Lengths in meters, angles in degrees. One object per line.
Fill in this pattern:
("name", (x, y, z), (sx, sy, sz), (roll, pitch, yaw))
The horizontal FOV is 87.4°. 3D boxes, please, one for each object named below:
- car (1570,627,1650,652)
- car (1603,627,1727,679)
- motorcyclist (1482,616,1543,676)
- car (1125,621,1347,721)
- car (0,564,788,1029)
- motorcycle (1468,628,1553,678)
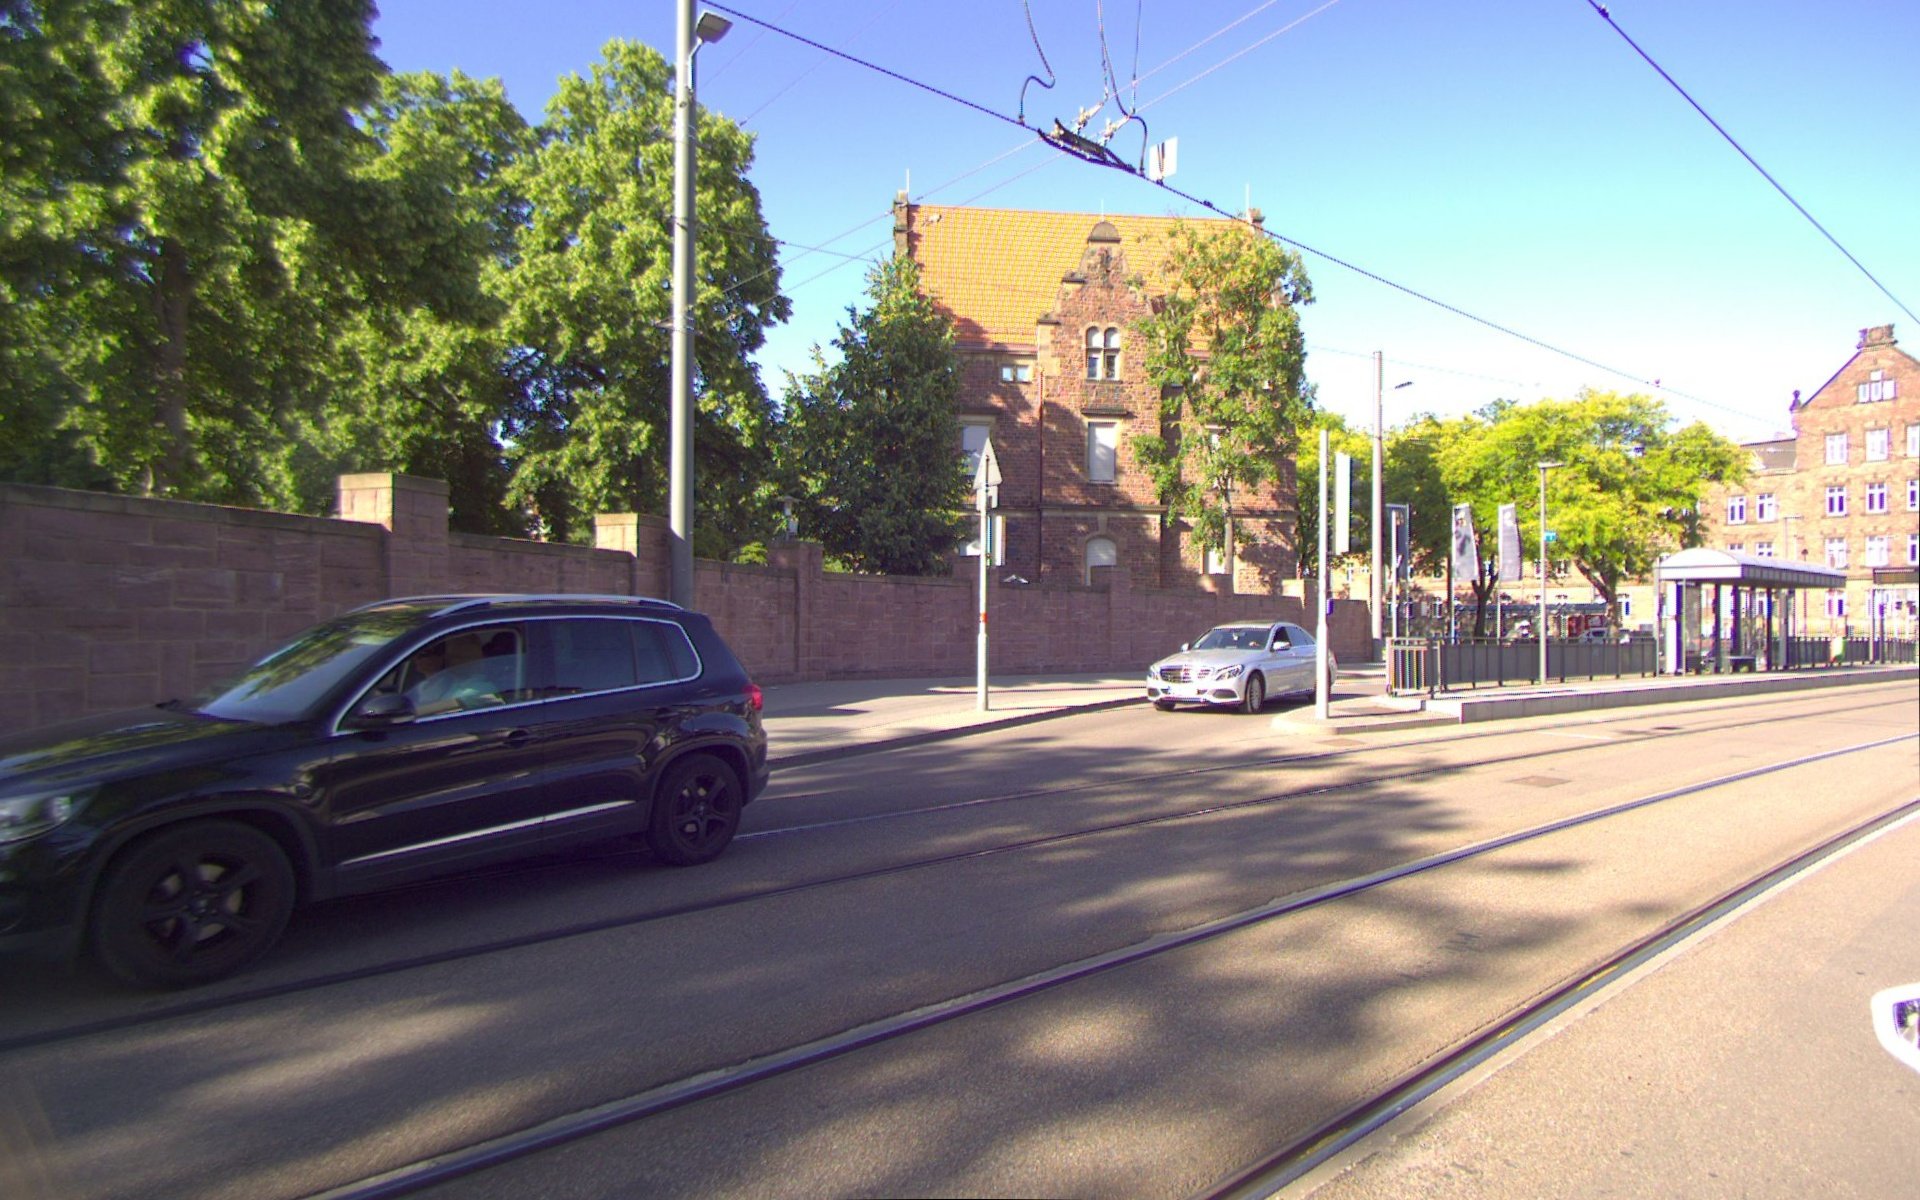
("car", (42.554, 2.577, 65.816), (1.857, 1.542, 4.042), (2, -1, -32))
("car", (22.662, 1.760, 32.266), (3.940, 1.420, 1.846), (5, -8, -32))
("motorcyclist", (14.905, 1.222, 27.107), (1.046, 1.545, 1.116), (2, -1, -38))
("car", (4.888, 1.107, 17.348), (1.862, 1.434, 4.599), (-1, -1, 42))
("car", (-3.063, 0.765, 5.670), (1.772, 1.659, 4.106), (-1, -2, 35))
("motorcycle", (14.870, 1.414, 27.088), (2.551, 1.260, 1.121), (2, -1, -39))
